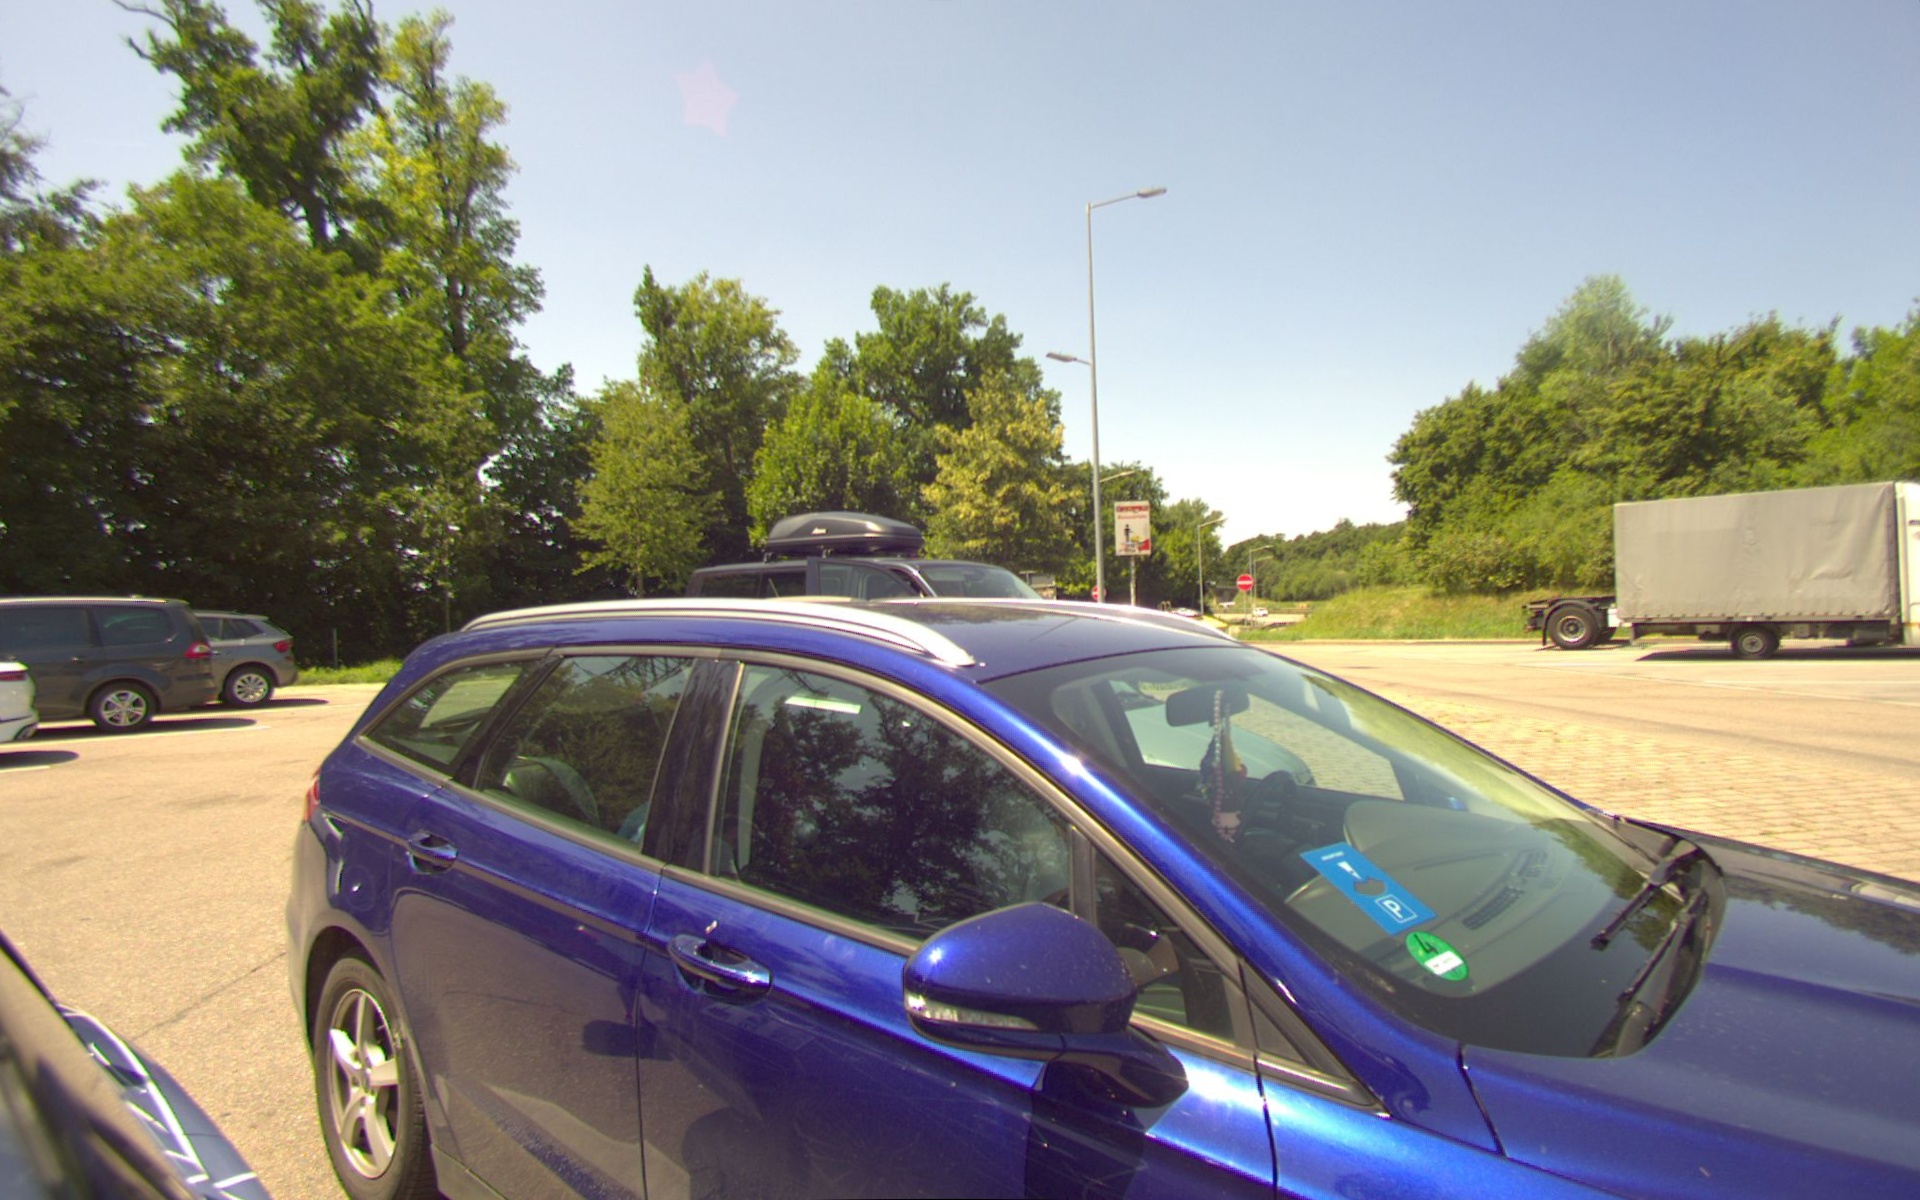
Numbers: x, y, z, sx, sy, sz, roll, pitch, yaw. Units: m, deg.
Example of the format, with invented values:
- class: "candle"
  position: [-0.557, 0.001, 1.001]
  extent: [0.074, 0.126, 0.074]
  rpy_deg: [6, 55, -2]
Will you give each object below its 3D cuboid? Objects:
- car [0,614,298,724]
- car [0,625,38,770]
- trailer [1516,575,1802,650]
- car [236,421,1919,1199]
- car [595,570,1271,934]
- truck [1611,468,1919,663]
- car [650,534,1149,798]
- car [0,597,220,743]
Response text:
- class: "car"
  position: [-12.602, 0.973, 15.609]
  extent: [3.753, 1.488, 1.743]
  rpy_deg: [0, -1, -45]
- class: "car"
  position: [-10.951, 0.944, 9.182]
  extent: [3.753, 1.377, 1.804]
  rpy_deg: [0, -1, -45]
- class: "trailer"
  position: [16.337, 0.347, 23.905]
  extent: [5.393, 1.608, 1.576]
  rpy_deg: [-2, -1, 41]
- class: "car"
  position: [0.249, 0.651, 2.070]
  extent: [4.426, 1.455, 1.763]
  rpy_deg: [-2, -1, 40]
- class: "car"
  position: [-0.356, 0.651, 5.791]
  extent: [3.739, 1.424, 1.587]
  rpy_deg: [-2, -1, 40]
- class: "truck"
  position: [16.717, -0.617, 18.833]
  extent: [7.308, 3.258, 2.294]
  rpy_deg: [-5, -2, 43]
- class: "car"
  position: [-0.724, 0.534, 9.402]
  extent: [4.426, 1.875, 2.022]
  rpy_deg: [-2, -1, 40]
- class: "car"
  position: [-11.706, 0.836, 12.570]
  extent: [3.830, 1.703, 1.883]
  rpy_deg: [0, -2, -45]
